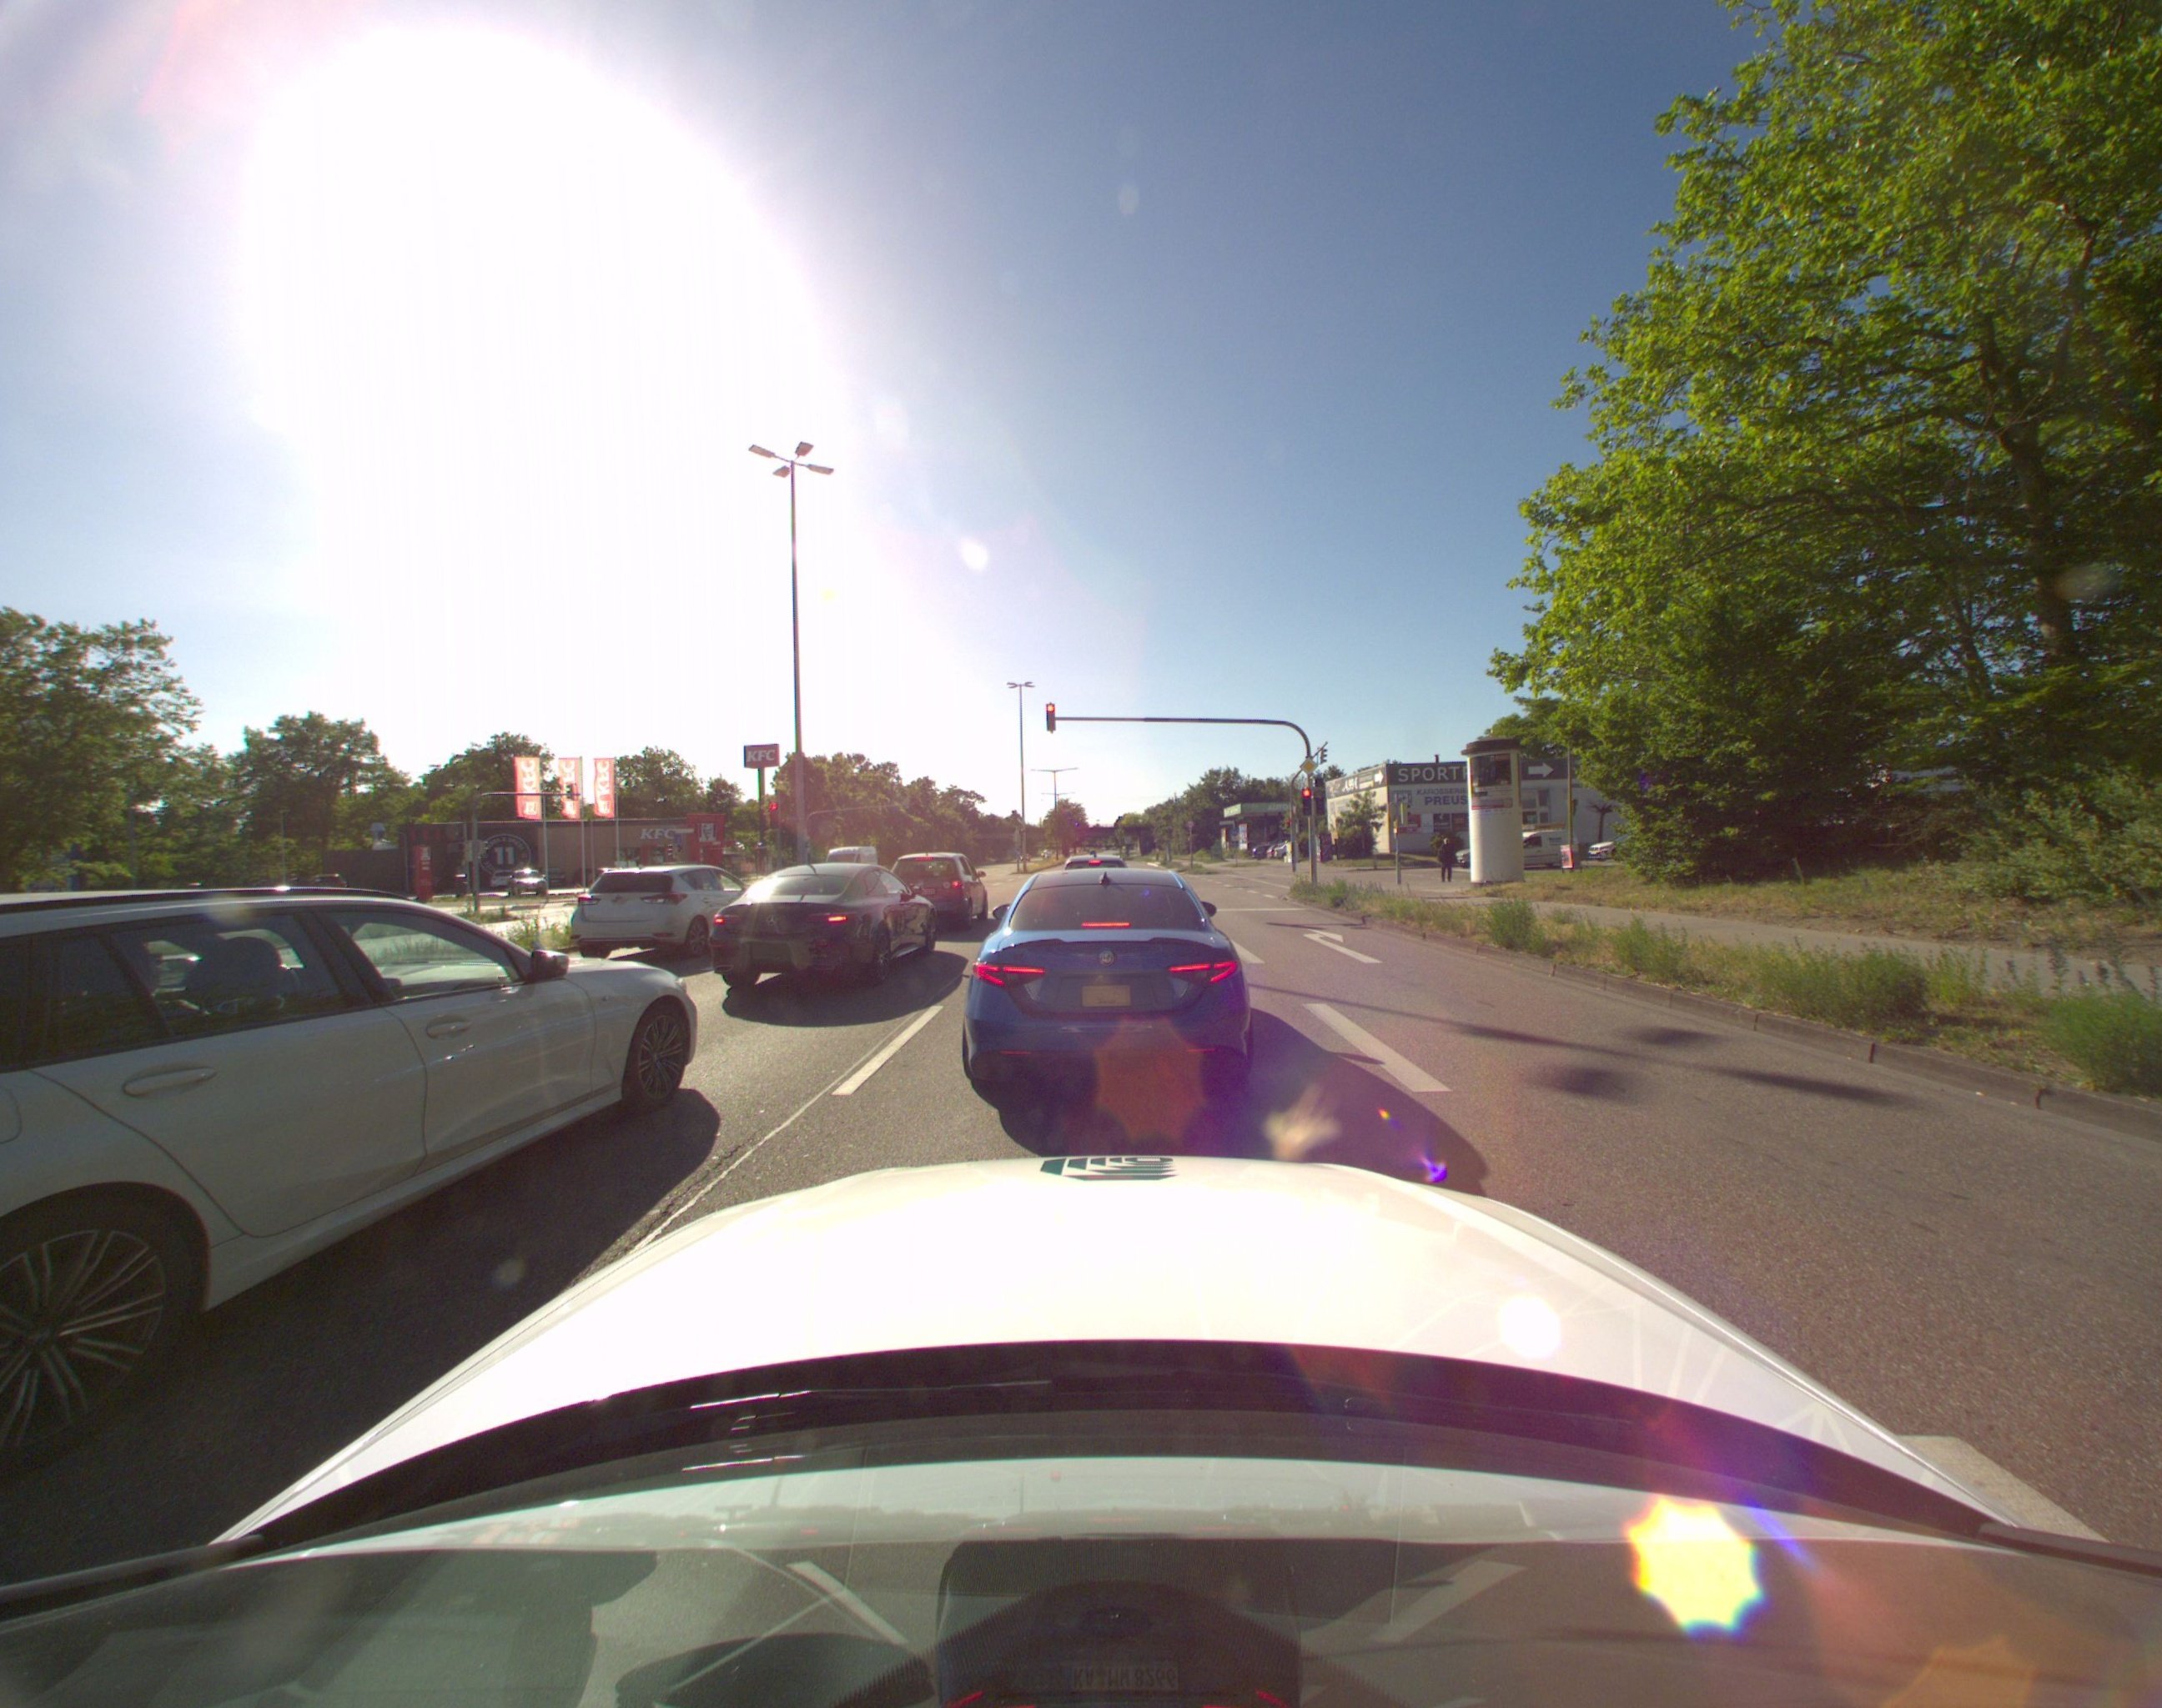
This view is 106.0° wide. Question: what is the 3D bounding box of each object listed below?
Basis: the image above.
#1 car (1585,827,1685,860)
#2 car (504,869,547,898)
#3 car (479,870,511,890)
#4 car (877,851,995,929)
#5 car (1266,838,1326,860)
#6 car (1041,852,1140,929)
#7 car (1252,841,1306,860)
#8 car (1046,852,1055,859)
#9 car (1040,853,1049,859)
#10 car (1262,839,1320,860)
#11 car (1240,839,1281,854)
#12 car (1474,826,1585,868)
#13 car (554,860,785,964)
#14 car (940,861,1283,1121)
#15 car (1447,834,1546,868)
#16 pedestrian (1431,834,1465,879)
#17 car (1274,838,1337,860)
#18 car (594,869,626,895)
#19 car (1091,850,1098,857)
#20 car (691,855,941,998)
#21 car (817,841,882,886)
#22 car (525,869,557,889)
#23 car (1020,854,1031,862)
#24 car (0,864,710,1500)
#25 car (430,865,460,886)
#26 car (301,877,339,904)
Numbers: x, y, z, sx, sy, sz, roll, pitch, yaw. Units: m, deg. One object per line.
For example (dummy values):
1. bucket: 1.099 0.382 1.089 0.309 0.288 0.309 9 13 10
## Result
1. car: 29.020 -0.531 42.753 4.028 1.490 1.782 -3 0 -1
2. car: -37.343 1.947 54.860 2.005 1.765 4.315 0 -1 -29
3. car: -45.644 2.034 63.404 1.670 1.471 3.872 0 -1 -40
4. car: -3.030 0.719 17.912 1.753 1.490 4.403 0 -1 1
5. car: 17.702 -0.401 67.103 4.470 1.454 1.860 -4 0 3
6. car: 0.212 0.698 17.357 1.844 1.418 4.403 0 -1 1
7. car: 17.938 -0.343 73.906 4.470 1.454 1.860 -4 0 3
8. car: -7.016 0.260 185.567 1.752 1.490 3.839 -3 0 2
9. car: -9.632 0.523 215.432 1.752 1.490 4.480 -3 0 2
10. car: 17.979 -0.371 69.852 4.470 1.454 1.860 -4 0 3
11. car: 21.381 -0.867 97.015 4.532 1.490 1.766 -4 0 3
12. car: 21.630 -0.337 39.379 4.367 1.801 1.765 -3 1 0
13. car: -6.741 0.857 13.929 1.753 1.490 4.197 0 -1 1
14. car: 0.202 0.776 6.714 1.889 1.418 4.403 0 -1 1
15. car: 21.761 -0.190 42.714 4.273 1.549 1.765 -3 1 0
16. pedestrian: 14.254 0.095 31.644 0.922 1.735 0.939 0 -1 1
17. car: 17.696 -0.414 64.322 4.470 1.454 1.860 -4 0 3
18. car: -33.673 1.942 58.339 1.920 1.752 4.315 0 -1 -29
19. car: 3.772 -0.140 232.552 1.884 1.816 4.001 0 -1 2
20. car: -3.175 0.783 10.810 1.790 1.490 4.476 0 -1 1
21. car: -14.214 0.570 50.361 2.015 2.447 5.823 -5 0 1
22. car: -43.152 1.966 65.058 1.670 1.471 3.872 0 -1 -40
23. car: -11.345 0.759 167.167 1.752 1.490 4.480 -3 0 2
24. car: -3.432 0.802 3.304 1.779 1.490 4.403 0 -1 1
25. car: -47.644 1.573 60.988 1.670 1.471 3.872 0 -1 -40
26. car: -52.378 2.472 56.093 1.670 1.673 3.897 0 -1 -40
